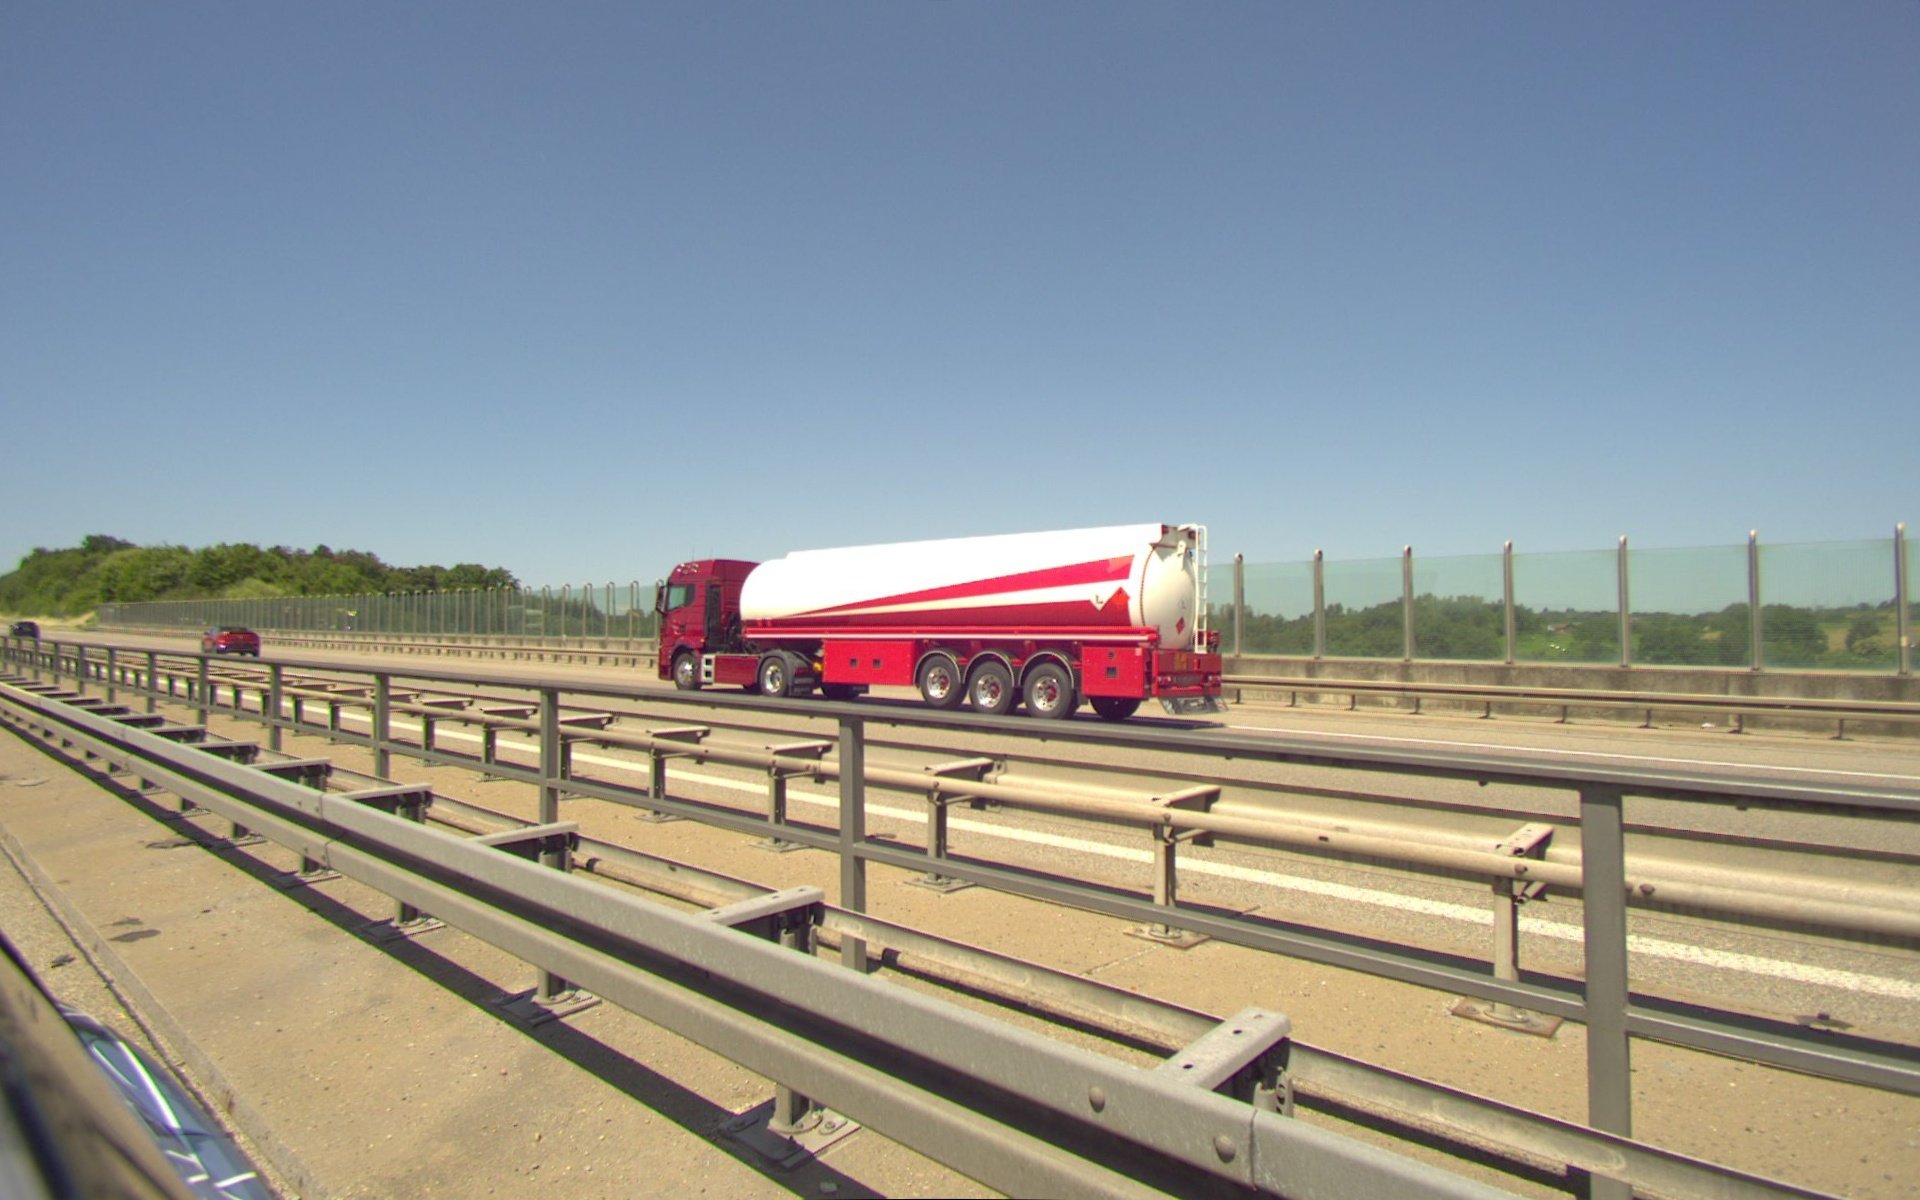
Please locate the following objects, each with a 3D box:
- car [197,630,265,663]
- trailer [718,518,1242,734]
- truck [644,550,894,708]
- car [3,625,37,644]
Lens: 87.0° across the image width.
[{"bbox_3d":[-34.787,2.210,48.275,3.999,1.431,1.763,-1,-4,42],"label":"car"},{"bbox_3d":[-0.339,0.540,21.111,12.005,3.405,2.845,-1,-4,43],"label":"trailer"},{"bbox_3d":[-4.880,0.718,25.199,6.294,3.441,2.877,-1,-3,43],"label":"truck"},{"bbox_3d":[-79.155,2.911,85.210,3.999,1.431,1.681,-1,-4,42],"label":"car"}]
